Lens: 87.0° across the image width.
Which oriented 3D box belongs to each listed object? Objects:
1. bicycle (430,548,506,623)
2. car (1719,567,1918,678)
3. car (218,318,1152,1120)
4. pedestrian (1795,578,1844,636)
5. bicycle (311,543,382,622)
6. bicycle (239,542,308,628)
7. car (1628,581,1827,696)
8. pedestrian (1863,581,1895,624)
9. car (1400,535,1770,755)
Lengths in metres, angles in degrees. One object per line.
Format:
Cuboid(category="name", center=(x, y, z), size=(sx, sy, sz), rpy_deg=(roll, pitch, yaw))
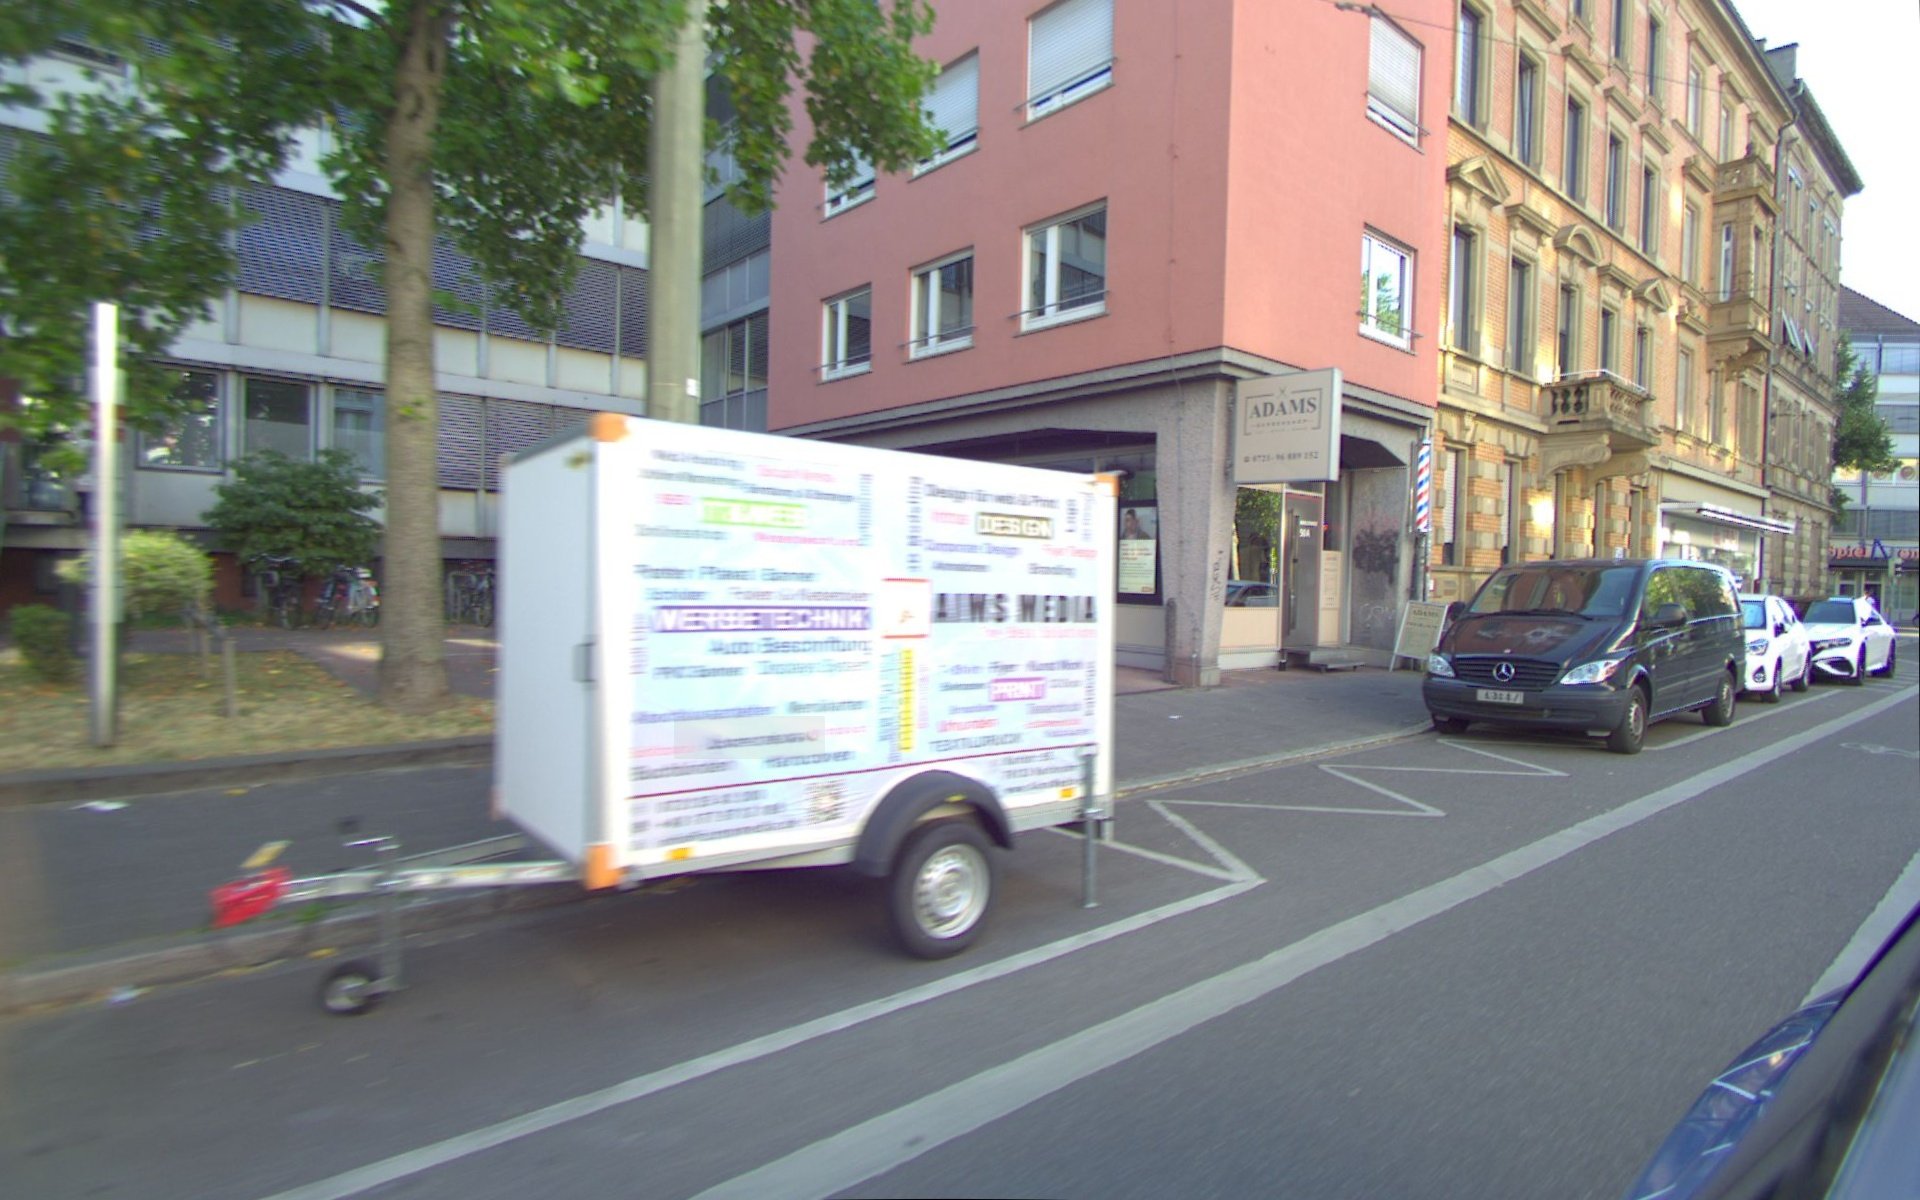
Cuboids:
Cuboid(category="bicycle", center=(-8.970, -0.296, 18.398), size=(0.846, 1.185, 2.328), rpy_deg=(1, 4, -35))
Cuboid(category="car", center=(15.794, 0.340, 18.532), size=(4.788, 1.794, 1.971), rpy_deg=(0, 1, -40))
Cuboid(category="car", center=(-1.029, 0.283, 4.499), size=(3.638, 2.146, 1.710), rpy_deg=(-1, 2, -38))
Cuboid(category="pedestrian", center=(24.884, 0.193, 29.302), size=(0.897, 1.585, 0.778), rpy_deg=(1, 5, -37))
Cuboid(category="bicycle", center=(-10.417, -0.317, 17.138), size=(0.846, 1.166, 2.328), rpy_deg=(1, 4, -35))
Cuboid(category="bicycle", center=(-11.099, -0.274, 16.348), size=(0.846, 1.204, 2.328), rpy_deg=(1, 4, -35))
Cuboid(category="car", center=(11.673, 0.497, 15.304), size=(3.894, 1.514, 1.733), rpy_deg=(0, 1, -42))
Cuboid(category="pedestrian", center=(37.868, 0.108, 41.696), size=(1.014, 1.686, 0.785), rpy_deg=(3, 0, -40))
Cuboid(category="car", center=(6.977, 0.374, 11.059), size=(4.899, 1.892, 1.960), rpy_deg=(0, 1, -39))
